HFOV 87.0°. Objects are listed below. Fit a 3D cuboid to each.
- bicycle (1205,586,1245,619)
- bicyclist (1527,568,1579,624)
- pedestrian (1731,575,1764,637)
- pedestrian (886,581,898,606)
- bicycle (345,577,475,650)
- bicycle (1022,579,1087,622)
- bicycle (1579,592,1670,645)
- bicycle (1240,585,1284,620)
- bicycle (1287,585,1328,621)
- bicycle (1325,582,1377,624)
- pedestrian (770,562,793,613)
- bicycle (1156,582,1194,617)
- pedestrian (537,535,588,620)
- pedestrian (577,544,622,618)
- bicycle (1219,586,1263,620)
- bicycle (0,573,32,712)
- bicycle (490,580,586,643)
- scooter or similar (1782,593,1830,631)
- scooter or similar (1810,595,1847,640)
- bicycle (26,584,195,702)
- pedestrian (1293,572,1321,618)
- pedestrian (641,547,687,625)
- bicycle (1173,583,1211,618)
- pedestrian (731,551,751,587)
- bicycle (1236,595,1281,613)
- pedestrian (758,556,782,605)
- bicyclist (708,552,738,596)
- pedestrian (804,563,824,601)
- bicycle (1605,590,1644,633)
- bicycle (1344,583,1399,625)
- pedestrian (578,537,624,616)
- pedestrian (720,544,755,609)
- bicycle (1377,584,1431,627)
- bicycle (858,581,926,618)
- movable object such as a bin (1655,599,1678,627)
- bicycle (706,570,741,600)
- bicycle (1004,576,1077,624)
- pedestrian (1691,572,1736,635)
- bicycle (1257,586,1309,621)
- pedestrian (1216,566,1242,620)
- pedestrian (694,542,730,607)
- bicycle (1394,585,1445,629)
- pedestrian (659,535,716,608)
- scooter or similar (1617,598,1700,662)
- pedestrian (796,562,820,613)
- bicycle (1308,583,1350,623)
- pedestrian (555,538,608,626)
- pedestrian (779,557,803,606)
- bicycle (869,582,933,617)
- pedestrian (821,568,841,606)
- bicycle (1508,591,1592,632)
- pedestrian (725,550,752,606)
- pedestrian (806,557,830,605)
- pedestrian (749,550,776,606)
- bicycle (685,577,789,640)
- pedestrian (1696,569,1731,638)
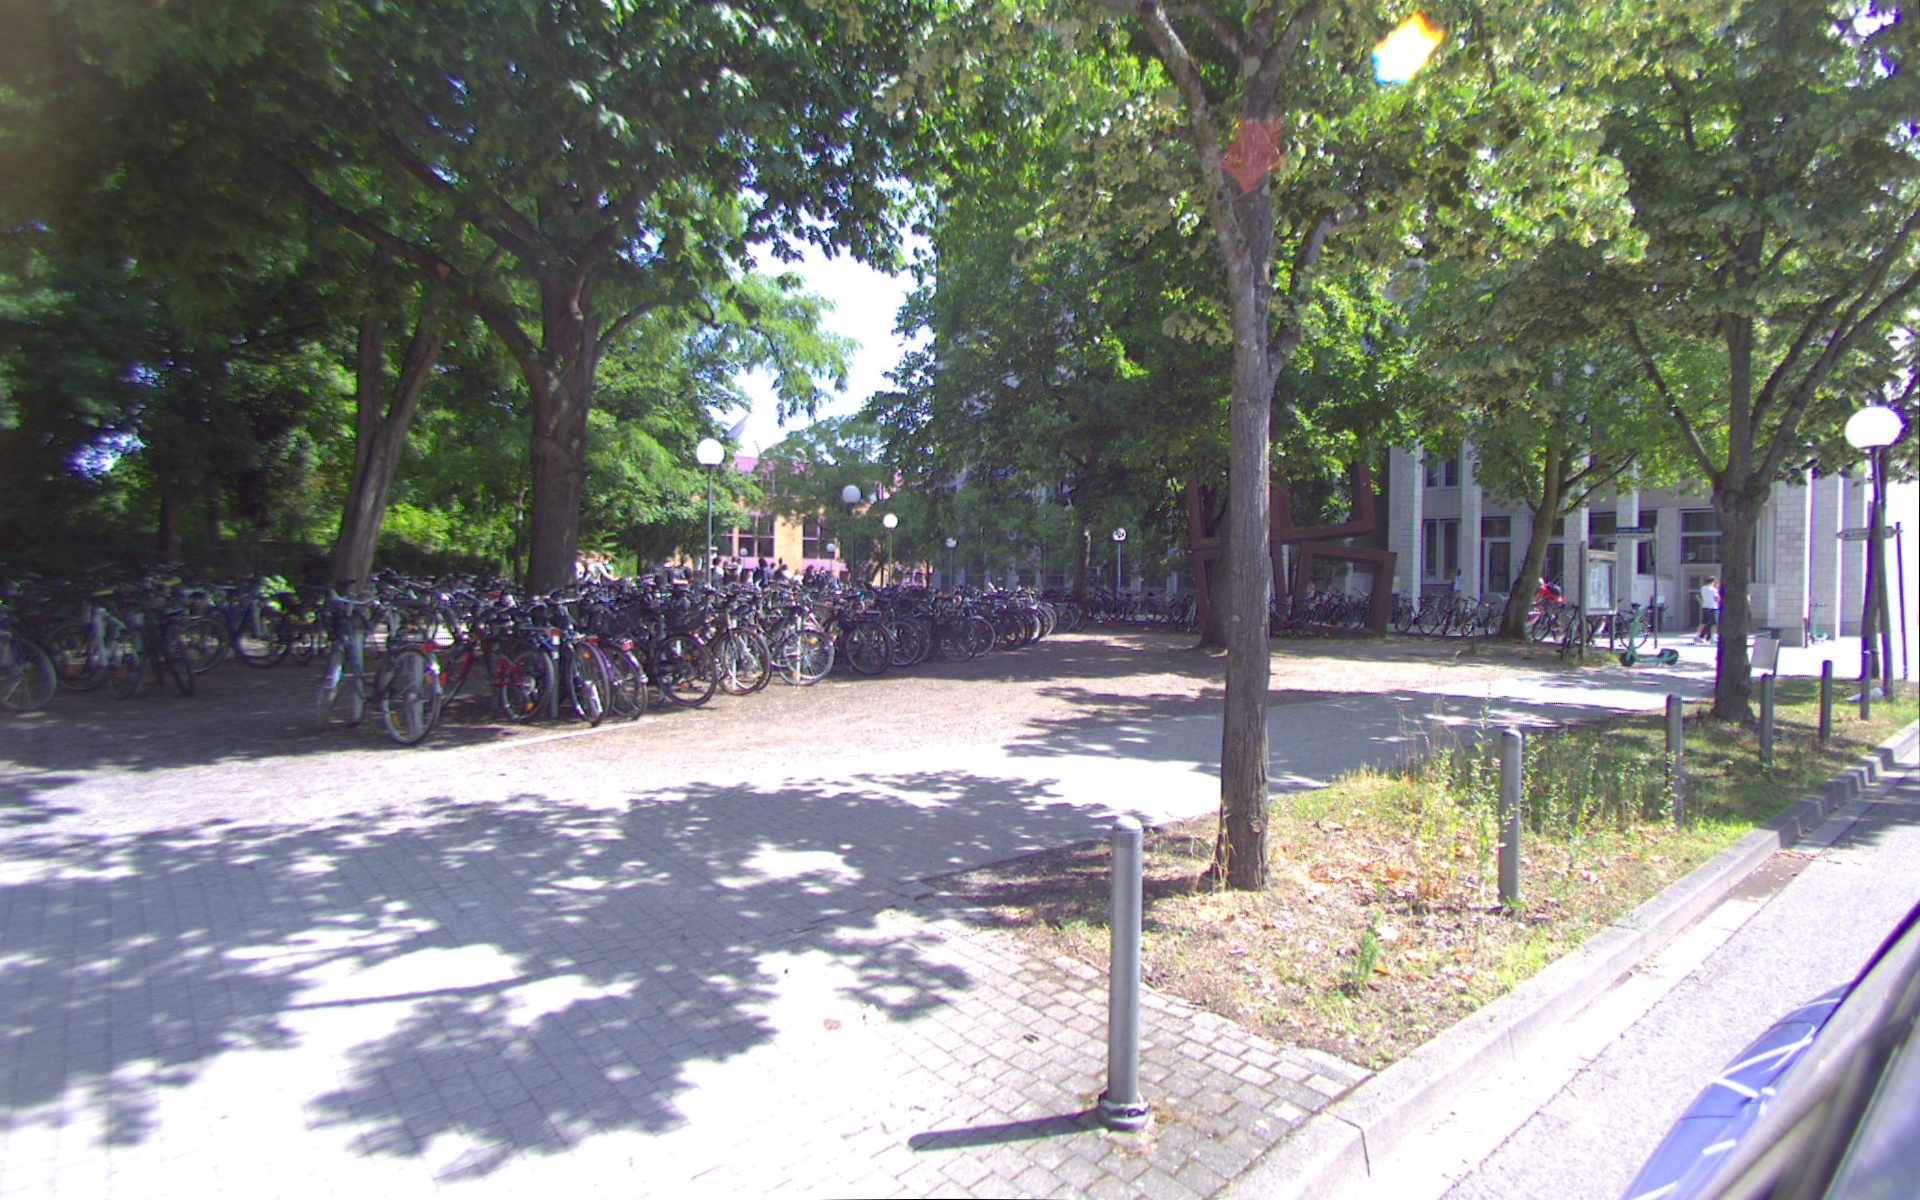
[{"bbox_3d":[8.538,0.090,32.625,0.499,1.061,1.661,-2,-2,44],"label":"bicycle"},{"bbox_3d":[17.136,-0.119,29.241,0.822,1.562,0.960,3,0,-34],"label":"bicyclist"},{"bbox_3d":[22.548,0.156,28.970,0.533,1.751,0.613,0,1,-39],"label":"pedestrian"},{"bbox_3d":[-3.388,-0.328,50.391,0.379,1.228,0.403,1,0,-33],"label":"pedestrian"},{"bbox_3d":[-8.205,0.182,15.091,1.877,0.991,0.534,2,2,16],"label":"bicycle"},{"bbox_3d":[2.729,0.010,29.252,1.818,1.185,0.434,1,1,15],"label":"bicycle"},{"bbox_3d":[15.440,0.421,23.520,1.750,1.155,0.607,1,2,-8],"label":"bicycle"},{"bbox_3d":[9.465,0.102,31.713,0.615,1.061,1.661,-2,-2,44],"label":"bicycle"},{"bbox_3d":[10.500,0.107,30.563,0.566,1.061,1.671,-2,-2,41],"label":"bicycle"},{"bbox_3d":[11.458,0.096,29.617,1.665,1.165,0.627,2,1,-39],"label":"bicycle"},{"bbox_3d":[-6.407,-0.453,36.341,0.729,1.797,0.722,1,0,-15],"label":"pedestrian"},{"bbox_3d":[7.317,-0.008,34.340,0.453,1.144,1.661,-2,-2,44],"label":"bicycle"},{"bbox_3d":[-8.538,-0.485,21.760,0.740,1.797,0.711,2,0,36],"label":"pedestrian"},{"bbox_3d":[-8.970,-0.471,25.213,0.737,1.797,0.715,2,0,24],"label":"pedestrian"},{"bbox_3d":[8.943,0.099,32.209,0.615,1.061,1.661,-2,-2,44],"label":"bicycle"},{"bbox_3d":[-8.816,0.326,8.732,1.886,1.132,0.607,2,2,28],"label":"bicycle"},{"bbox_3d":[-7.263,0.188,17.385,1.863,0.991,0.304,2,2,23],"label":"bicycle"},{"bbox_3d":[29.531,0.396,35.339,0.555,1.226,1.507,0,3,9],"label":"scooter or similar"},{"bbox_3d":[24.903,0.478,29.021,1.485,1.226,0.564,-1,4,-42],"label":"scooter or similar"},{"bbox_3d":[-8.224,0.375,9.780,1.886,0.991,0.607,2,2,28],"label":"bicycle"},{"bbox_3d":[13.452,-0.204,39.219,0.930,1.762,0.741,1,1,30],"label":"pedestrian"},{"bbox_3d":[-7.005,-0.329,23.961,0.735,1.797,0.717,2,0,18],"label":"pedestrian"},{"bbox_3d":[7.773,0.016,33.877,0.453,1.144,1.661,-2,-2,44],"label":"bicycle"},{"bbox_3d":[-9.637,-1.350,44.466,0.679,1.530,0.514,3,2,6],"label":"pedestrian"},{"bbox_3d":[14.036,0.170,47.673,0.633,0.769,1.986,2,1,-43],"label":"bicycle"},{"bbox_3d":[-7.101,-0.719,37.818,0.824,1.797,0.994,1,0,-11],"label":"pedestrian"},{"bbox_3d":[-8.016,-0.876,34.288,0.732,1.464,0.802,1,0,6],"label":"bicyclist"},{"bbox_3d":[-6.217,-0.783,43.065,0.730,1.589,0.721,1,0,-3],"label":"pedestrian"},{"bbox_3d":[20.418,0.324,31.089,1.798,1.257,0.531,-1,2,-42],"label":"bicycle"},{"bbox_3d":[11.776,0.120,28.952,1.664,1.139,0.628,2,1,-36],"label":"bicycle"},{"bbox_3d":[-8.365,-0.542,23.554,0.742,1.797,0.710,2,1,41],"label":"pedestrian"},{"bbox_3d":[-6.302,-0.674,28.719,0.732,1.797,0.719,1,0,9],"label":"pedestrian"},{"bbox_3d":[12.506,0.167,28.480,1.664,1.139,0.566,2,1,-36],"label":"bicycle"},{"bbox_3d":[-1.939,-0.006,28.989,1.871,0.991,0.478,2,2,7],"label":"bicycle"},{"bbox_3d":[25.289,0.474,36.224,0.503,0.961,0.513,1,3,-42],"label":"movable object such as a bin"},{"bbox_3d":[-8.012,-0.520,34.373,0.576,0.942,1.750,3,3,6],"label":"bicycle"},{"bbox_3d":[2.078,-0.020,26.155,1.816,1.185,0.412,1,1,11],"label":"bicycle"},{"bbox_3d":[21.928,0.095,29.468,0.796,1.819,0.619,1,1,6],"label":"pedestrian"},{"bbox_3d":[9.950,0.117,31.158,1.663,1.061,0.618,1,-2,-33],"label":"bicycle"},{"bbox_3d":[8.812,-0.226,33.192,0.427,1.725,0.929,-1,-1,45],"label":"pedestrian"},{"bbox_3d":[-7.063,-0.724,28.856,0.732,1.797,0.719,1,0,9],"label":"pedestrian"},{"bbox_3d":[12.712,0.205,27.990,1.664,1.139,0.482,2,1,-36],"label":"bicycle"},{"bbox_3d":[-6.885,-0.716,25.591,0.954,1.797,0.963,2,0,28],"label":"pedestrian"},{"bbox_3d":[12.992,0.552,18.830,1.333,1.128,0.498,2,0,-16],"label":"scooter or similar"},{"bbox_3d":[-5.494,-0.453,36.476,0.729,1.797,0.722,1,0,-15],"label":"pedestrian"},{"bbox_3d":[10.980,0.095,30.103,0.625,1.165,1.671,-2,-2,40],"label":"bicycle"},{"bbox_3d":[-7.875,-0.374,21.040,0.740,1.797,0.712,2,0,35],"label":"pedestrian"},{"bbox_3d":[-6.334,-0.684,37.992,0.824,1.797,0.994,1,0,-11],"label":"pedestrian"},{"bbox_3d":[-1.745,-0.021,30.265,1.868,0.991,0.479,1,2,1],"label":"bicycle"},{"bbox_3d":[-5.467,-0.542,43.016,0.731,1.589,0.721,1,0,1],"label":"pedestrian"},{"bbox_3d":[17.066,0.306,29.312,0.803,1.054,1.932,-4,4,-33],"label":"bicycle"},{"bbox_3d":[-7.219,-0.727,33.029,0.730,1.797,0.721,1,0,-3],"label":"pedestrian"},{"bbox_3d":[-5.399,-0.721,38.453,0.837,1.797,0.813,1,0,-6],"label":"pedestrian"},{"bbox_3d":[-6.468,-0.718,33.092,0.730,1.797,0.721,1,0,-3],"label":"pedestrian"},{"bbox_3d":[-4.146,0.145,18.821,1.875,1.096,0.477,2,2,14],"label":"bicycle"},{"bbox_3d":[21.292,0.089,28.596,0.675,1.914,0.685,-1,1,-43],"label":"pedestrian"}]
